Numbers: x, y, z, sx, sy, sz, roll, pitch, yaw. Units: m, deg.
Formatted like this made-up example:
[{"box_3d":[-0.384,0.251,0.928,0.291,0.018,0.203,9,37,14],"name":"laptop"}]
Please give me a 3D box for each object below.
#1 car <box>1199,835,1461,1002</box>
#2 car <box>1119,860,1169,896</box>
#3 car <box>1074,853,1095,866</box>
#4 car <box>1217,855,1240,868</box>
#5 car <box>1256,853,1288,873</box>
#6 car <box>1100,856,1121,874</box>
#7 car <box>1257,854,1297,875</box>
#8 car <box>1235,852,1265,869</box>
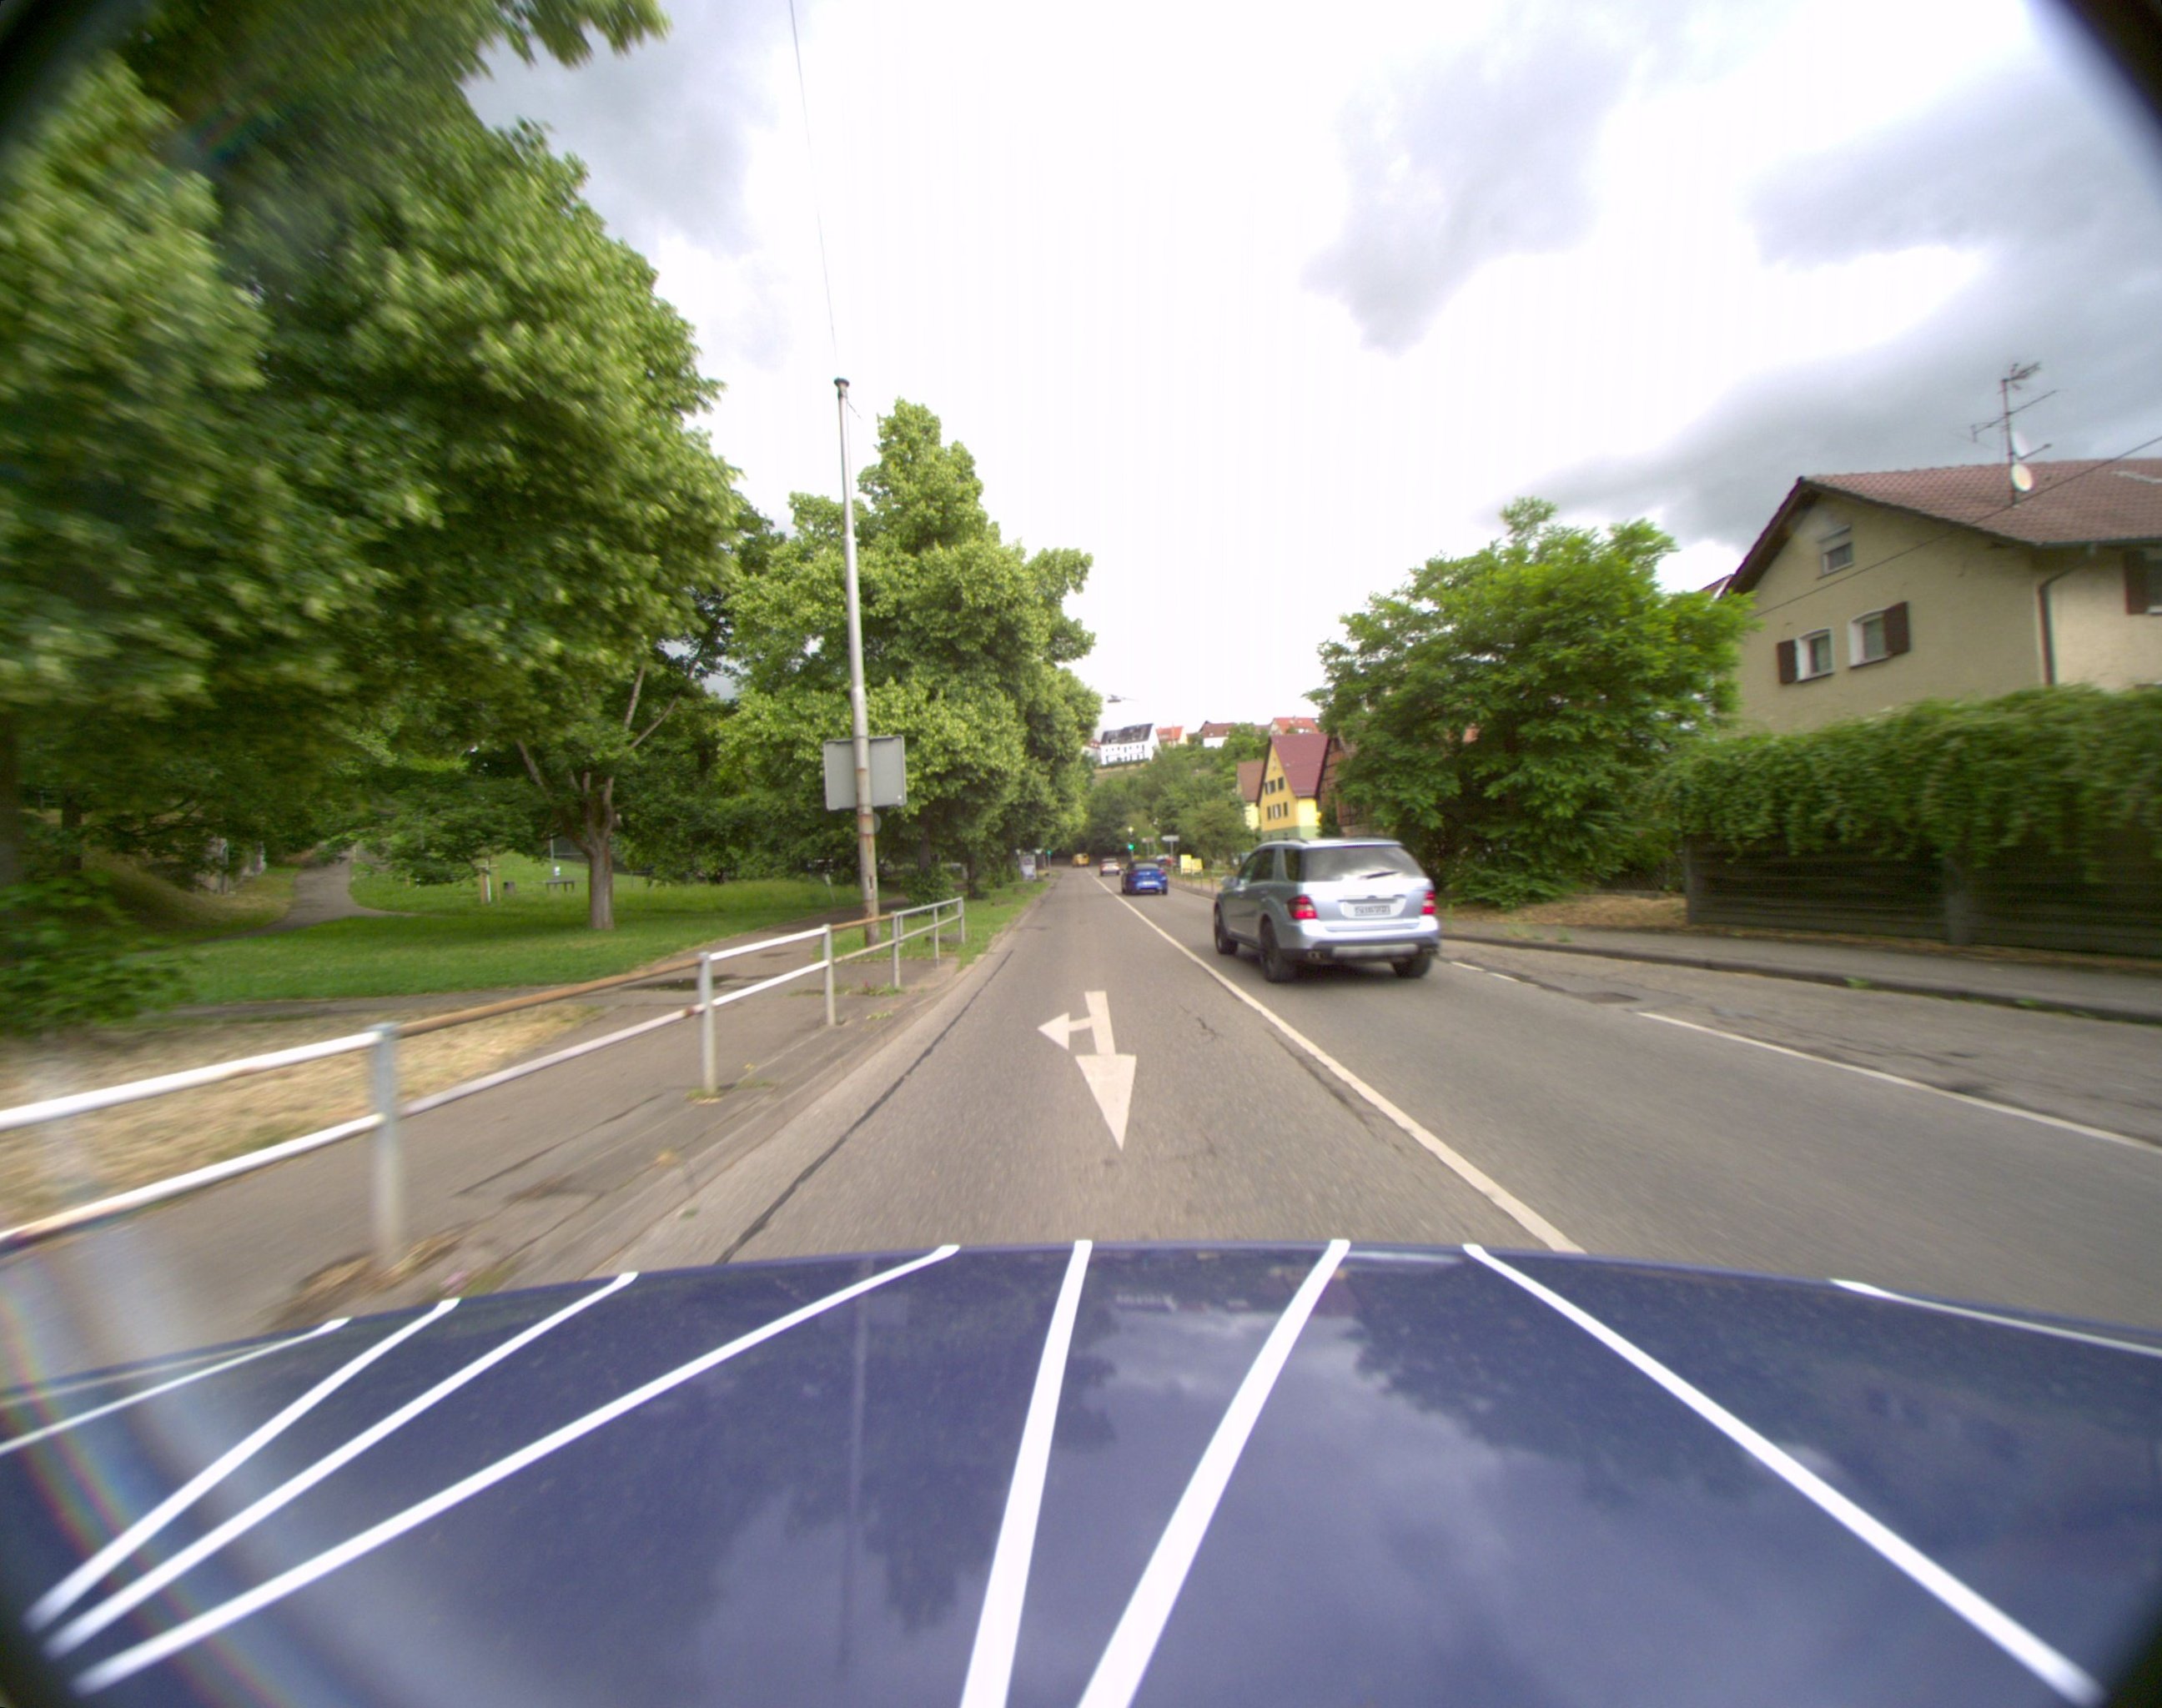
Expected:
[{"box_3d":[3.037,0.706,10.474,1.940,1.713,4.691,-2,0,-1],"name":"car"},{"box_3d":[2.762,1.034,33.960,1.721,1.460,4.099,-2,-1,-2],"name":"car"},{"box_3d":[0.520,0.863,117.616,1.852,1.919,4.763,-4,0,-16],"name":"car"},{"box_3d":[15.842,0.809,81.817,1.649,1.337,4.152,-2,0,-1],"name":"car"},{"box_3d":[15.845,0.718,63.263,1.816,1.608,4.001,-2,0,2],"name":"car"},{"box_3d":[2.730,0.996,70.222,1.709,1.503,4.000,-1,0,0],"name":"car"},{"box_3d":[13.086,0.683,51.018,1.998,1.269,4.002,-2,0,5],"name":"car"},{"box_3d":[16.698,0.597,75.272,1.998,1.608,4.448,-2,0,2],"name":"car"}]
